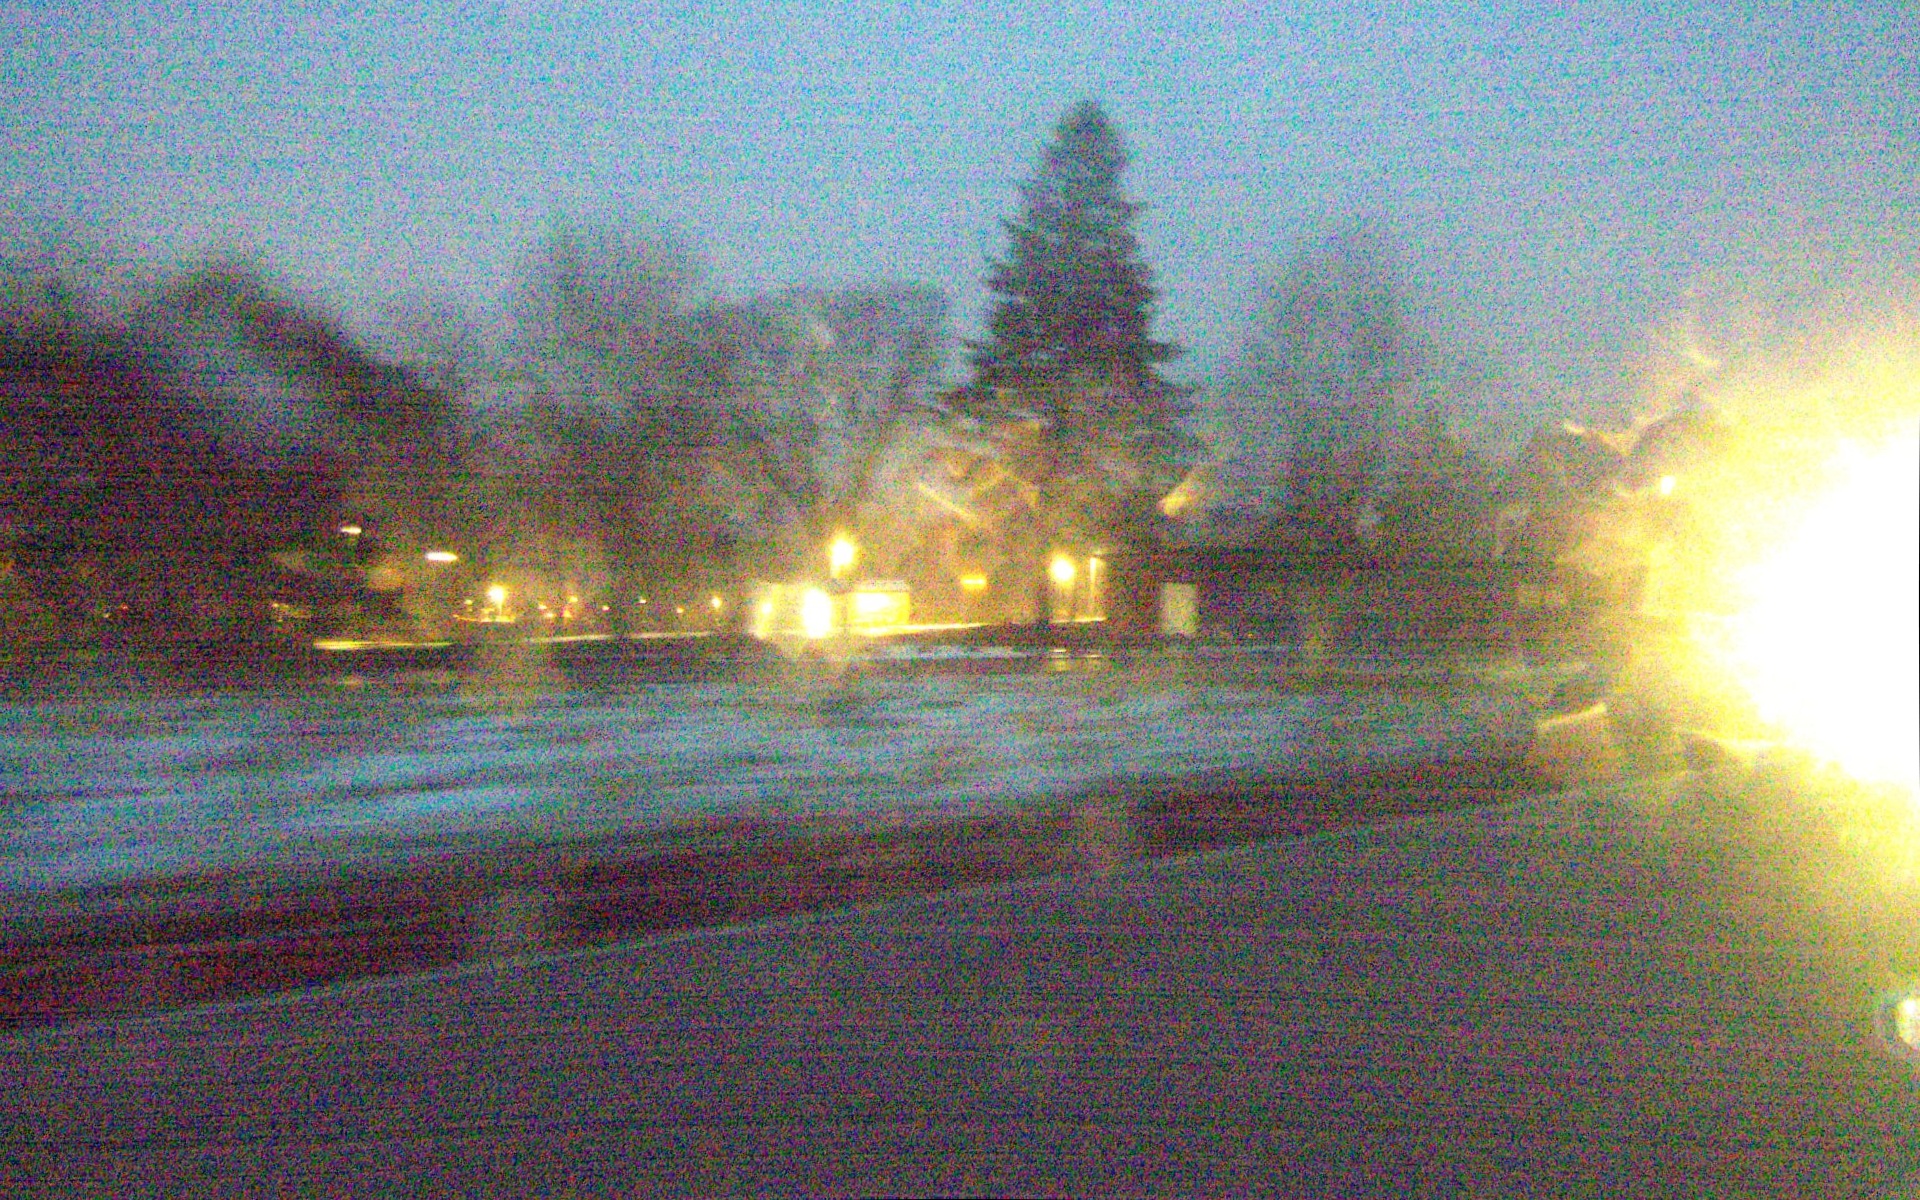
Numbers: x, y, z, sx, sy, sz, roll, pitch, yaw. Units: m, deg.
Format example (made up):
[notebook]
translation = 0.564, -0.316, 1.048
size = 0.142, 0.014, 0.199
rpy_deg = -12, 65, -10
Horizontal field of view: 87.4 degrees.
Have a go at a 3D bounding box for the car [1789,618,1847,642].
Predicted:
[car]
translation = 55.551, 1.943, 65.018
size = 4.104, 1.416, 1.679
rpy_deg = 0, -1, -32
